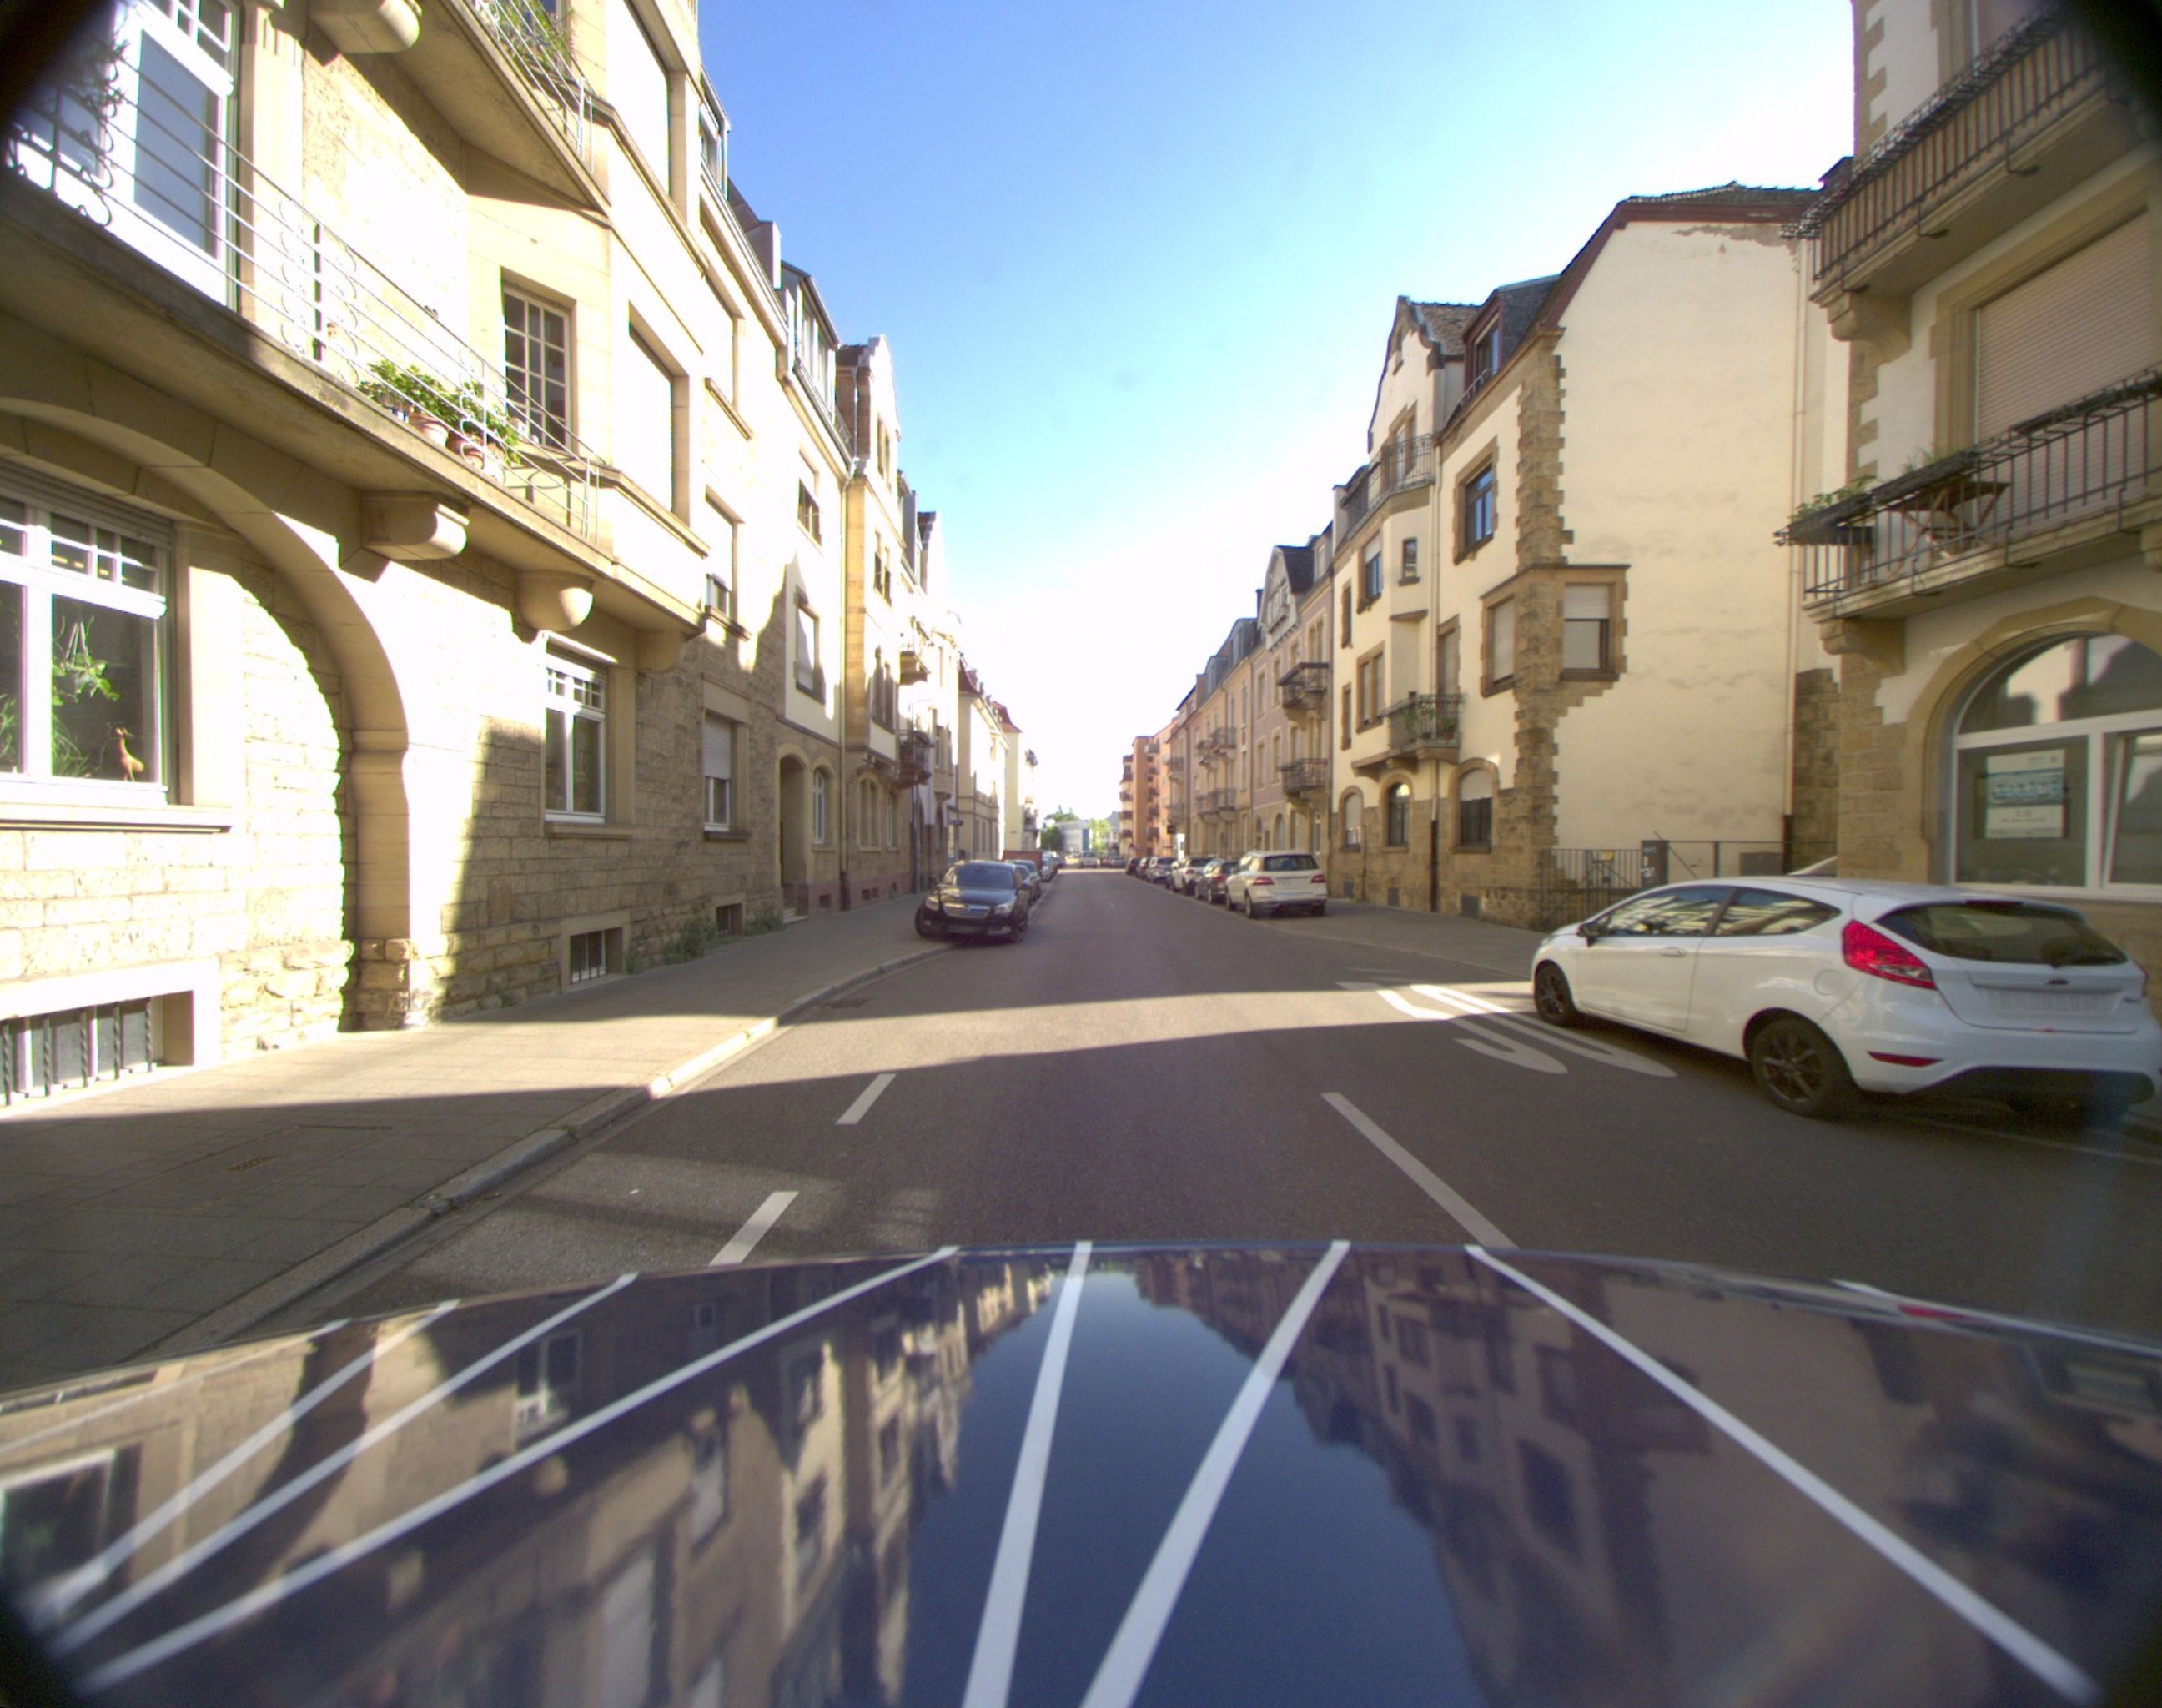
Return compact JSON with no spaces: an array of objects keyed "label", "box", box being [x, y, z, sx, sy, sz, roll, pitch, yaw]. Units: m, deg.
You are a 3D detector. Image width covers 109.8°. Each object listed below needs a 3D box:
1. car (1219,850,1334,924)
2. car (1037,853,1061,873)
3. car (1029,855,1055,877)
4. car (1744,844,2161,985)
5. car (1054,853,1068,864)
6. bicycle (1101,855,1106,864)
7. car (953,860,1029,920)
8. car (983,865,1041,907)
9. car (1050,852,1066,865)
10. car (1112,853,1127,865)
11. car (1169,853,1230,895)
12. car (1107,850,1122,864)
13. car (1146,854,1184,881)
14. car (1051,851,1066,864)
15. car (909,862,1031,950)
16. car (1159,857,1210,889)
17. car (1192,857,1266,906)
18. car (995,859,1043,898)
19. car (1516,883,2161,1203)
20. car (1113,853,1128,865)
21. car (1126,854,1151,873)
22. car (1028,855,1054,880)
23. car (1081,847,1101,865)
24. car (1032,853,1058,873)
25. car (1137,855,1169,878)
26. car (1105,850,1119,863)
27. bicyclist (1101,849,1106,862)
[{"label":"car","box":[5.202,0.815,20.912,1.897,1.712,4.726,-2,0,0]},{"label":"car","box":[-2.641,0.714,63.456,1.791,1.655,4.434,0,0,1]},{"label":"car","box":[-2.667,0.802,52.954,1.657,1.456,4.093,0,0,-1]},{"label":"car","box":[11.837,0.743,10.318,3.978,1.718,1.909,0,0,0]},{"label":"car","box":[-2.648,0.523,99.639,1.708,1.417,3.721,0,0,-2]},{"label":"bicycle","box":[2.662,0.602,91.375,0.541,1.070,1.800,0,0,1]},{"label":"car","box":[-2.382,0.913,20.975,1.655,1.434,4.257,1,0,-1]},{"label":"car","box":[-2.302,1.046,26.138,1.697,1.247,3.940,-1,0,-2]},{"label":"car","box":[-2.610,0.485,87.825,1.708,1.417,3.721,1,1,-1]},{"label":"car","box":[4.796,0.583,95.376,1.678,1.414,3.285,1,0,0]},{"label":"car","box":[4.922,0.788,32.121,1.719,1.574,4.019,-3,0,-2]},{"label":"car","box":[4.488,0.416,101.979,1.822,1.867,4.110,0,0,0]},{"label":"car","box":[5.004,0.758,45.636,1.719,1.529,3.723,-1,0,-2]},{"label":"car","box":[-2.754,0.445,93.289,1.708,1.417,3.721,1,1,-1]},{"label":"car","box":[-2.065,0.927,15.307,1.870,1.453,4.338,0,0,-1]},{"label":"car","box":[5.043,0.897,37.506,1.677,1.385,3.664,-3,0,-5]},{"label":"car","box":[5.054,0.886,26.459,1.578,1.478,4.279,-2,0,-2]},{"label":"car","box":[-2.474,0.927,30.575,1.791,1.421,3.806,0,0,-4]},{"label":"car","box":[5.117,1.032,5.730,1.637,1.455,3.735,0,0,2]},{"label":"car","box":[4.711,0.542,91.200,1.678,1.414,3.500,0,0,0]},{"label":"car","box":[4.727,0.752,62.615,1.719,1.378,3.864,-3,0,0]},{"label":"car","box":[-2.469,0.805,47.567,1.590,1.456,3.711,0,0,-2]},{"label":"car","box":[1.063,0.206,82.880,1.868,1.925,4.598,0,0,-3]},{"label":"car","box":[-2.759,0.673,59.022,1.684,1.537,3.914,1,0,1]},{"label":"car","box":[4.897,0.819,52.328,1.719,1.512,4.109,1,0,-1]},{"label":"car","box":[4.346,0.323,107.147,1.822,1.867,4.110,0,0,0]},{"label":"bicyclist","box":[2.668,0.178,91.256,0.609,1.656,0.632,0,1,0]}]
